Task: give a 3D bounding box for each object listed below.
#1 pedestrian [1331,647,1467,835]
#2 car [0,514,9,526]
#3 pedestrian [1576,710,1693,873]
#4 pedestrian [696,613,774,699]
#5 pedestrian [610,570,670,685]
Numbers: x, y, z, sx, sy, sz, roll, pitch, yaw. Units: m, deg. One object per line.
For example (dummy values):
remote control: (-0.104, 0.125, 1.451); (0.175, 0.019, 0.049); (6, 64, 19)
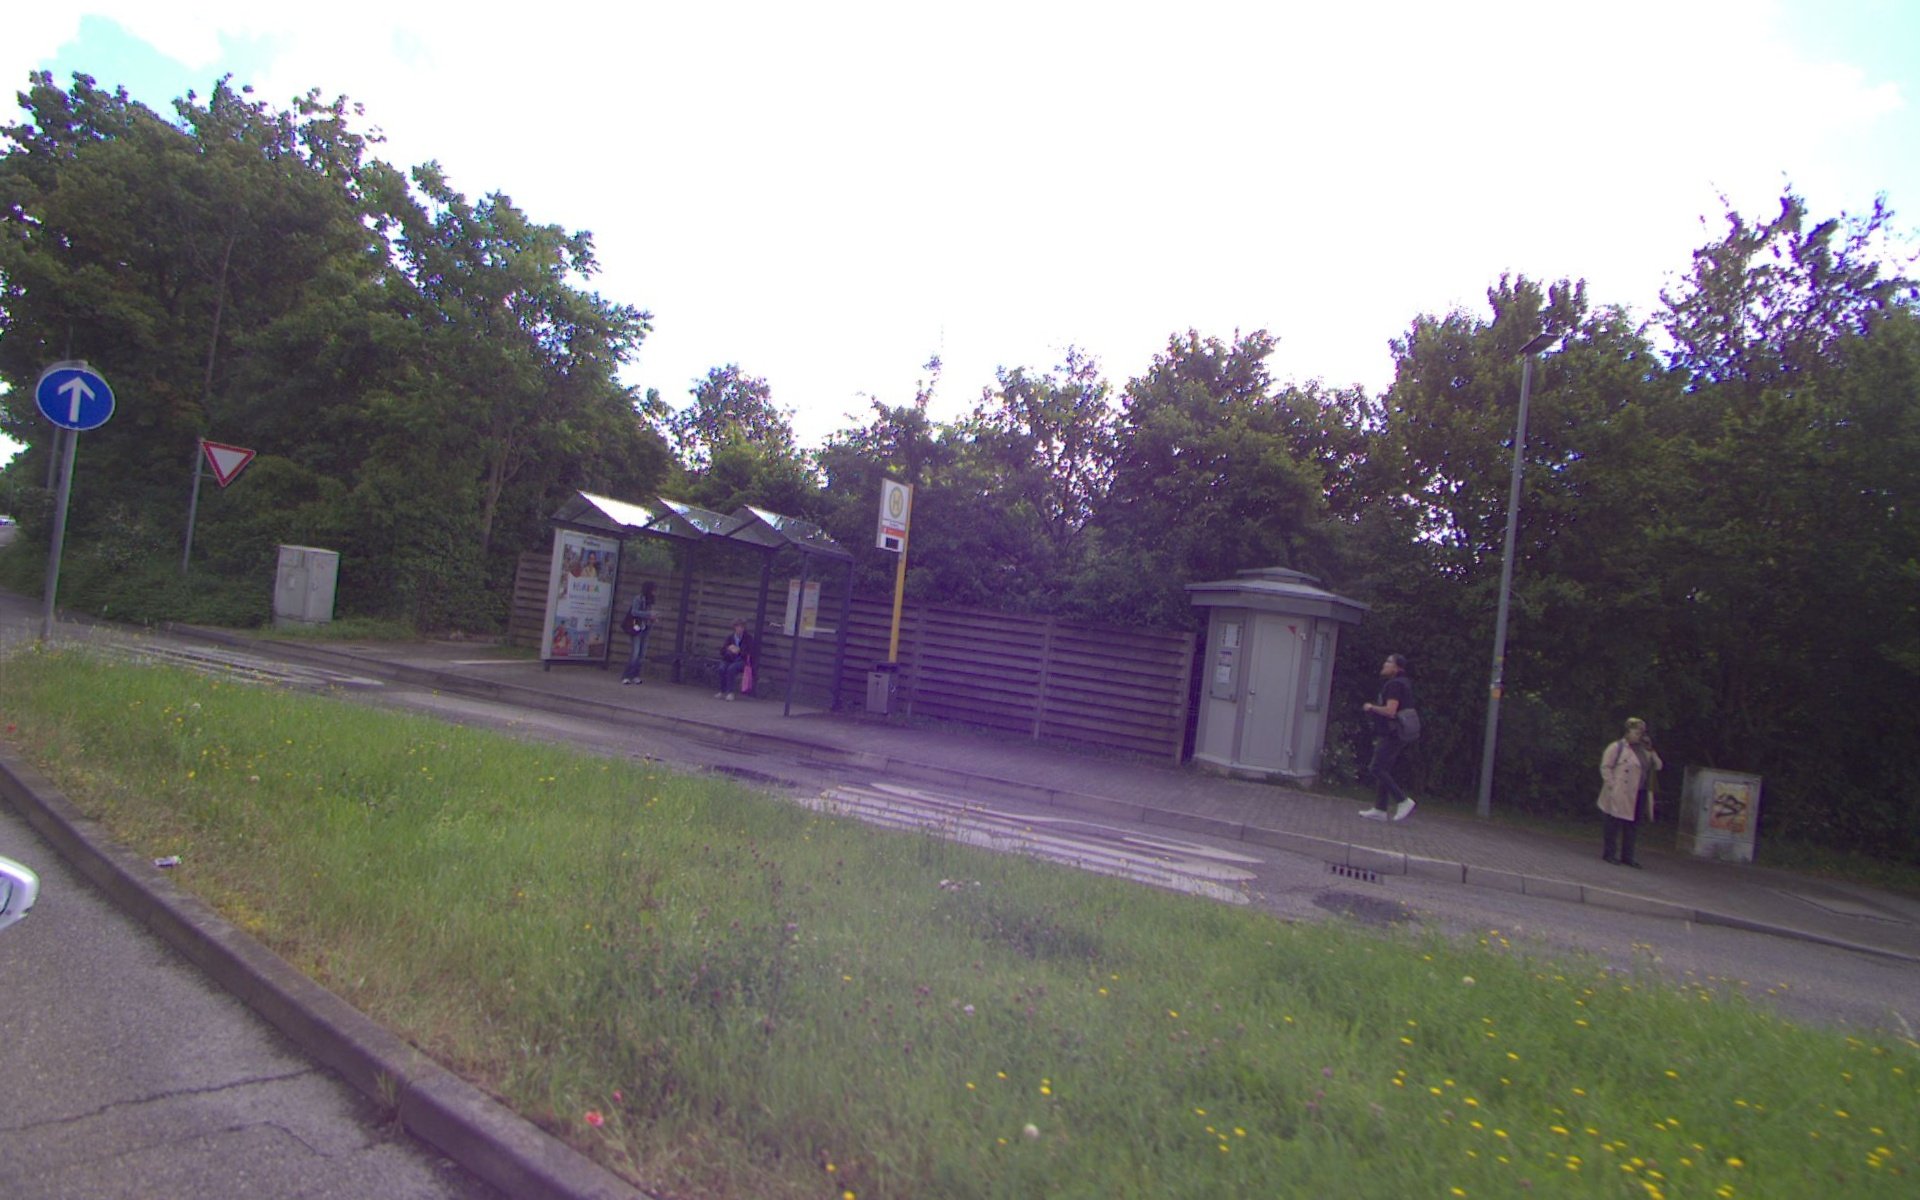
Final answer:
pedestrian: (4.796, 1.507, 11.074); (0.966, 1.844, 0.858); (8, 0, 9)
car: (-150.060, -12.570, 157.304); (1.713, 1.647, 3.952); (11, -4, -43)
pedestrian: (7.487, 2.101, 11.203); (0.757, 1.613, 0.687); (7, 0, 15)
pedestrian: (-3.395, 0.843, 15.200); (0.757, 1.184, 0.751); (7, -1, 18)
pedestrian: (-4.947, 0.417, 15.573); (0.677, 1.669, 0.768); (7, 0, -18)
